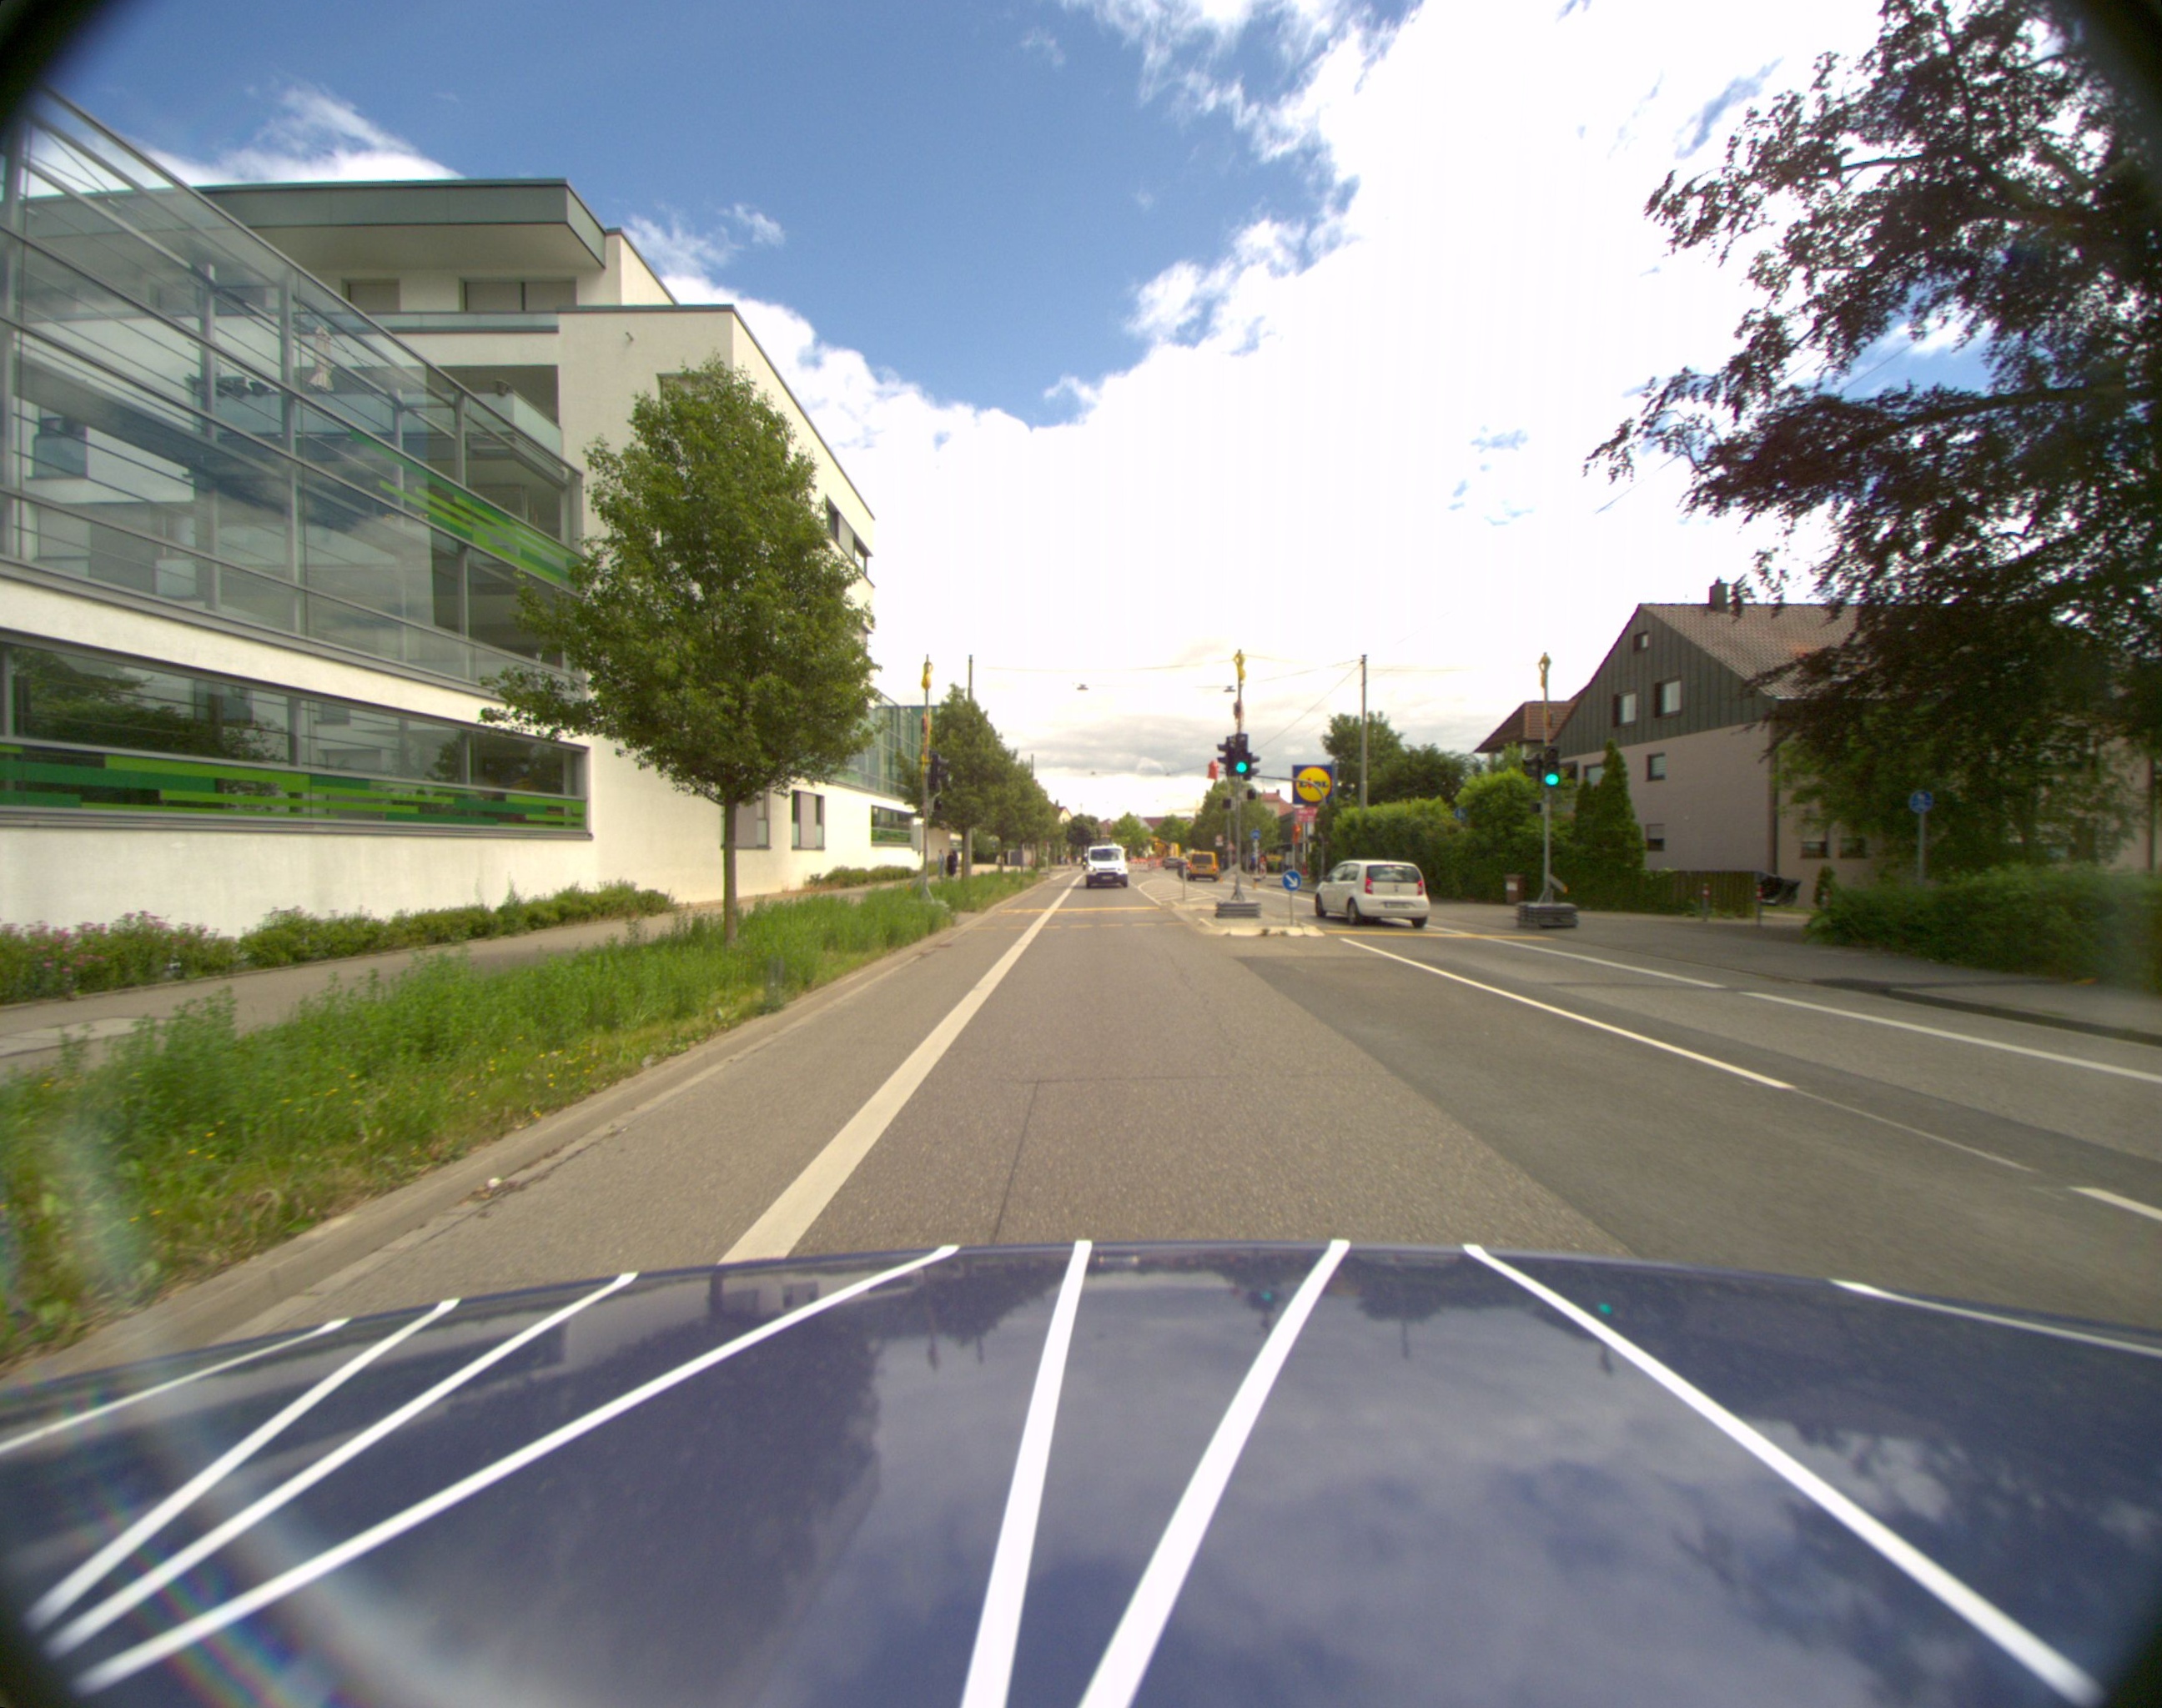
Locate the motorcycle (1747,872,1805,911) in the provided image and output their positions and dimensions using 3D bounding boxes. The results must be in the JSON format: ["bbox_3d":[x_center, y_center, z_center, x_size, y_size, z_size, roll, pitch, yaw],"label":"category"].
[{"bbox_3d":[22.253,1.194,24.350,1.426,1.211,0.479,1,1,-3],"label":"motorcycle"}]

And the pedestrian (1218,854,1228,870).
[{"bbox_3d":[14.327,0.779,76.575,0.754,1.593,0.830,1,1,-1],"label":"pedestrian"}]

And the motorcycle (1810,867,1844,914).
[{"bbox_3d":[23.091,1.115,23.542,0.552,1.412,1.430,2,1,38],"label":"motorcycle"}]

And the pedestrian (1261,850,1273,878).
[{"bbox_3d":[12.645,0.681,51.657,0.683,1.844,0.706,1,1,1],"label":"pedestrian"}]

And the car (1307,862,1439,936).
[{"bbox_3d":[6.801,0.981,18.155,1.665,1.506,4.000,0,0,1],"label":"car"}]

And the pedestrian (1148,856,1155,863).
[{"bbox_3d":[10.589,0.870,114.418,0.791,0.985,0.813,2,0,30],"label":"pedestrian"}]

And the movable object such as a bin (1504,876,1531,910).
[{"bbox_3d":[12.952,1.149,22.529,0.557,0.947,0.538,0,1,-42],"label":"movable object such as a bin"}]

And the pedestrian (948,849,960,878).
[{"bbox_3d":[-7.192,0.543,43.036,0.606,1.645,0.552,1,1,1],"label":"pedestrian"}]

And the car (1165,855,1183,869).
[{"bbox_3d":[11.529,0.977,94.367,1.753,1.546,4.402,1,0,1],"label":"car"}]

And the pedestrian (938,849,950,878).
[{"bbox_3d":[-7.889,0.515,43.632,0.551,1.645,0.607,1,1,1],"label":"pedestrian"}]

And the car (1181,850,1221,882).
[{"bbox_3d":[7.471,0.721,47.806,1.846,1.893,4.685,1,0,1],"label":"car"}]

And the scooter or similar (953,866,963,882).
[{"bbox_3d":[-7.048,1.120,43.526,0.422,0.900,0.682,1,1,1],"label":"scooter or similar"}]

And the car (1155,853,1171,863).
[{"bbox_3d":[12.513,0.634,115.694,1.998,1.391,4.811,2,0,1],"label":"car"}]

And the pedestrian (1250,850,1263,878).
[{"bbox_3d":[11.907,0.659,51.667,0.683,1.844,0.892,1,1,2],"label":"pedestrian"}]

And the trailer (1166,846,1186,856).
[{"bbox_3d":[21.995,-0.660,175.927,2.594,2.232,5.685,-2,-1,28],"label":"trailer"}]

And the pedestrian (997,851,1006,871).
[{"bbox_3d":[-6.074,0.542,58.229,0.582,1.542,0.869,1,1,1],"label":"pedestrian"}]

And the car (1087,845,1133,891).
[{"bbox_3d":[1.309,0.619,36.748,1.998,2.002,5.513,-1,0,0],"label":"car"}]
